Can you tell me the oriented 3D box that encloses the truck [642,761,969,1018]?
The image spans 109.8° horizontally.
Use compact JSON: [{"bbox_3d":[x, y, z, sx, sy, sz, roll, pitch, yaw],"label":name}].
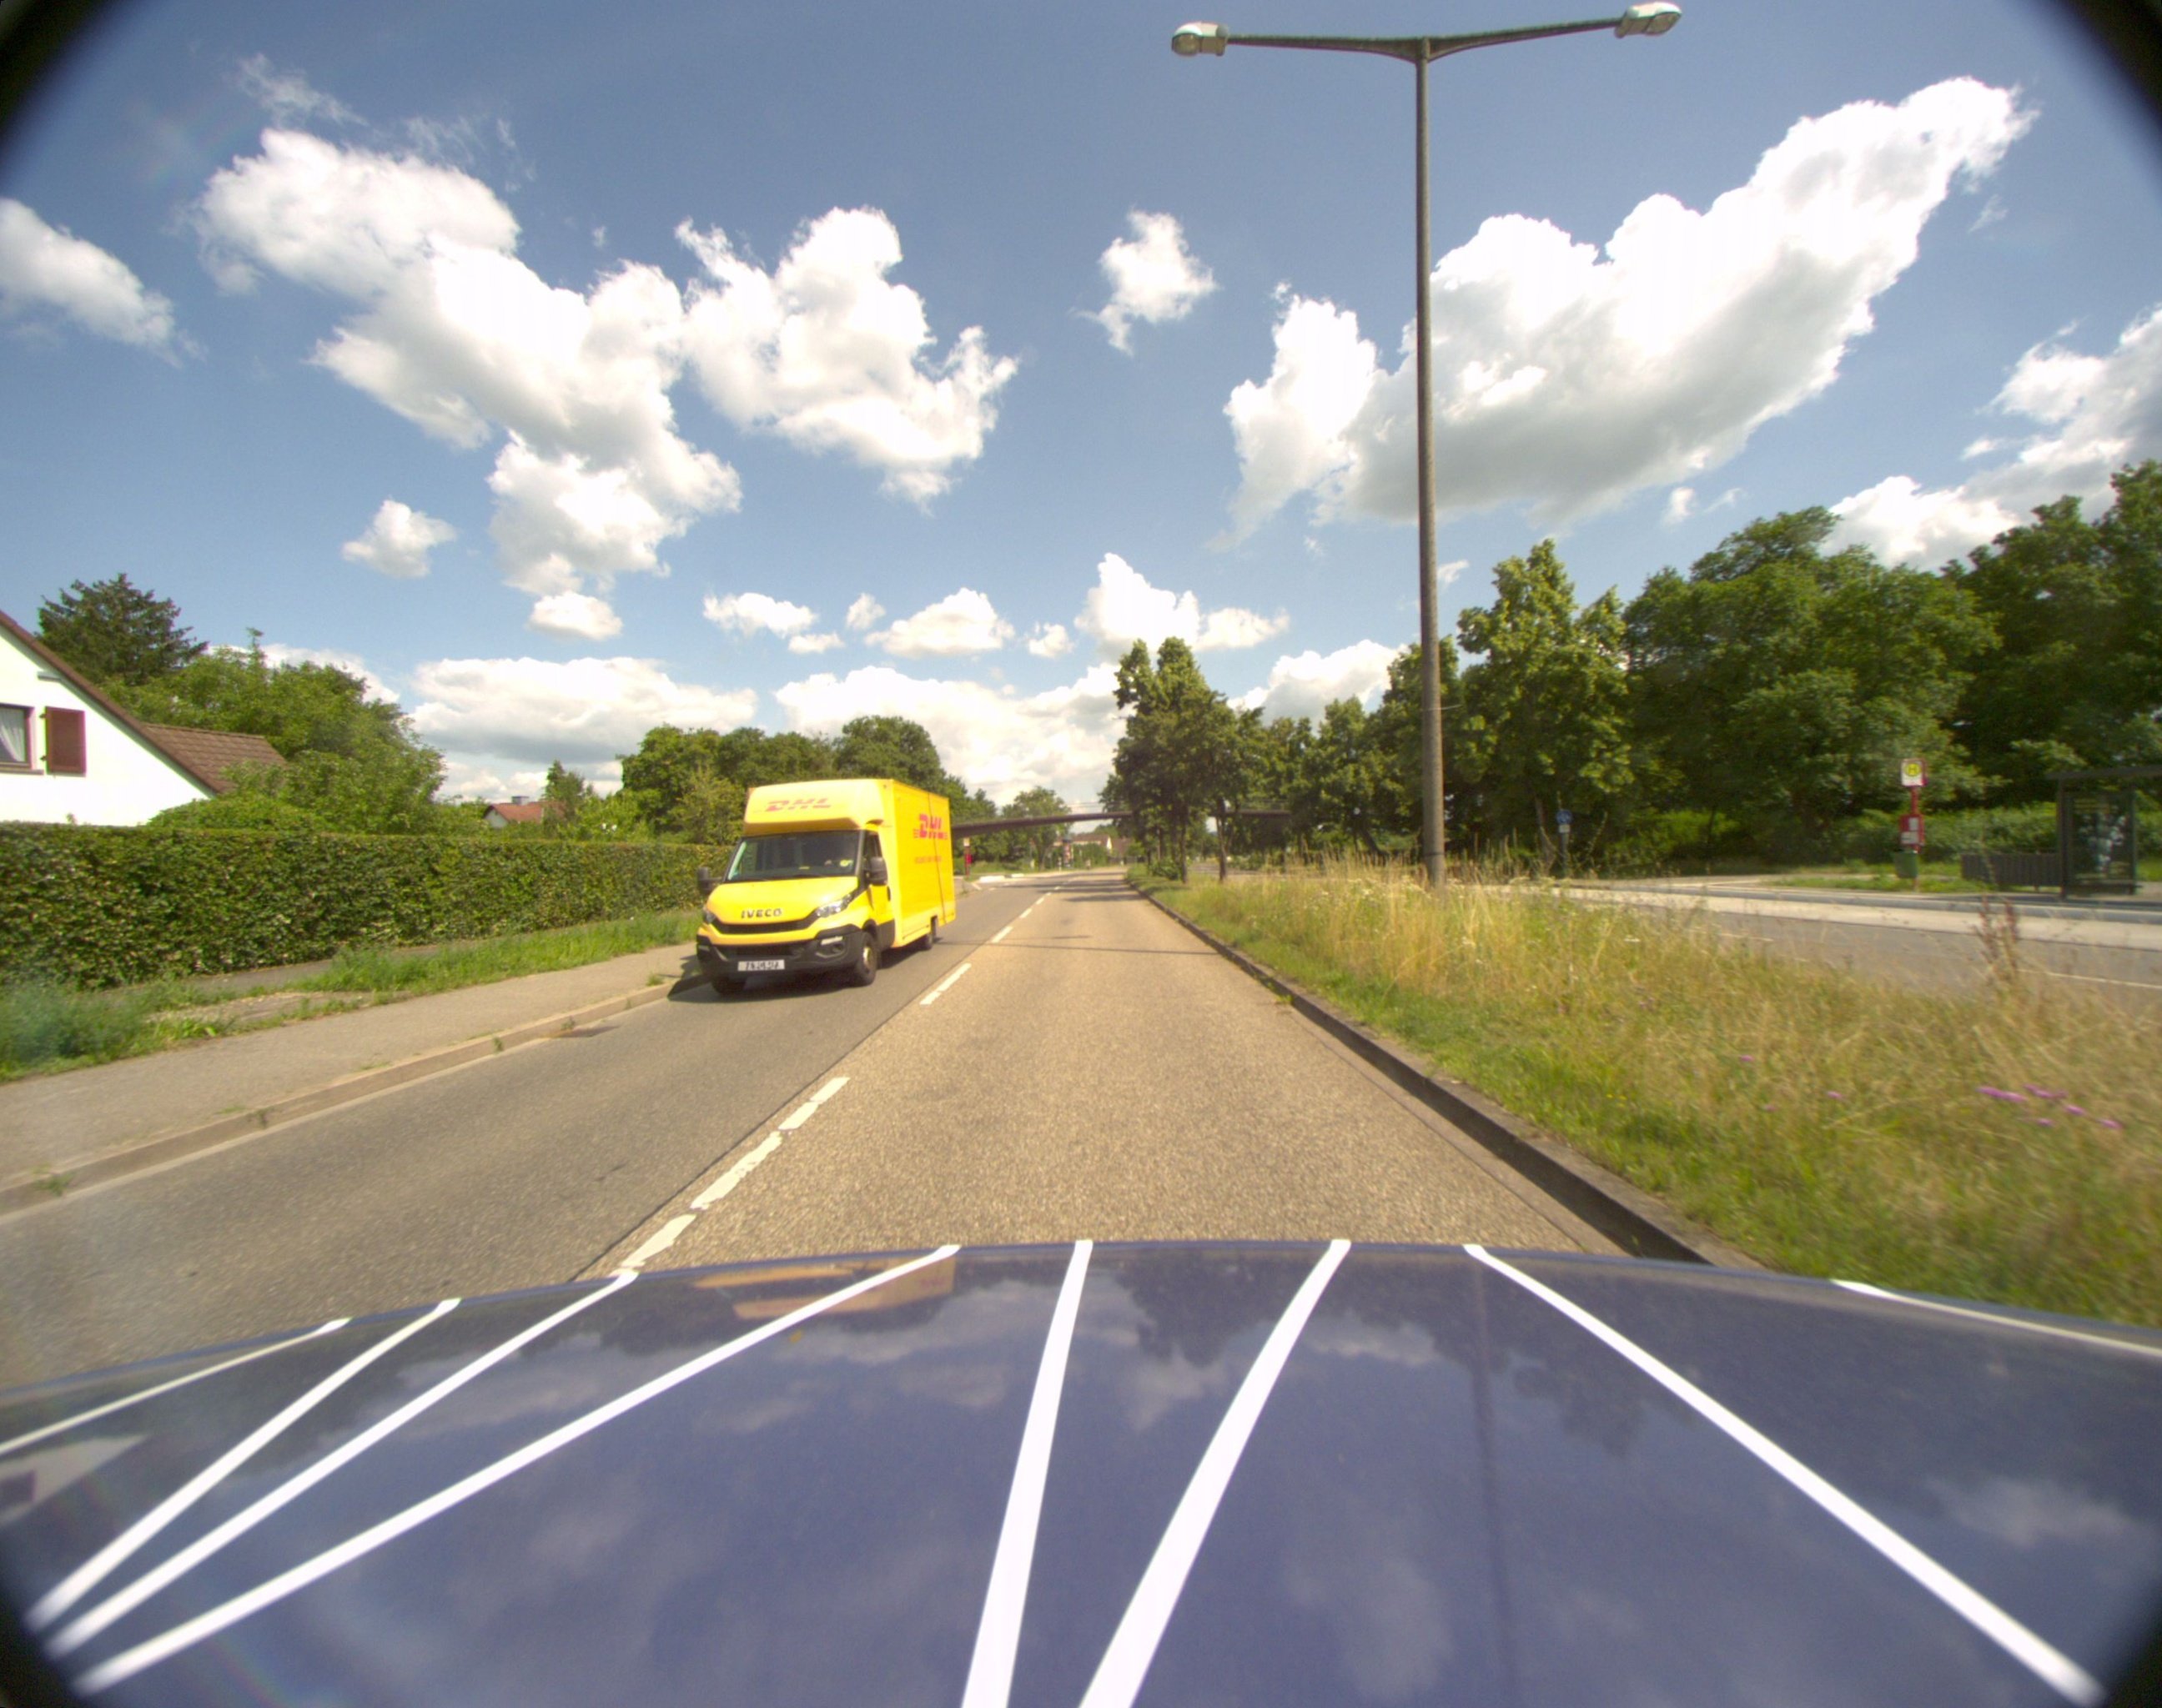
[{"bbox_3d":[-3.778,0.410,12.807,2.270,2.863,8.028,-3,0,1],"label":"truck"}]
